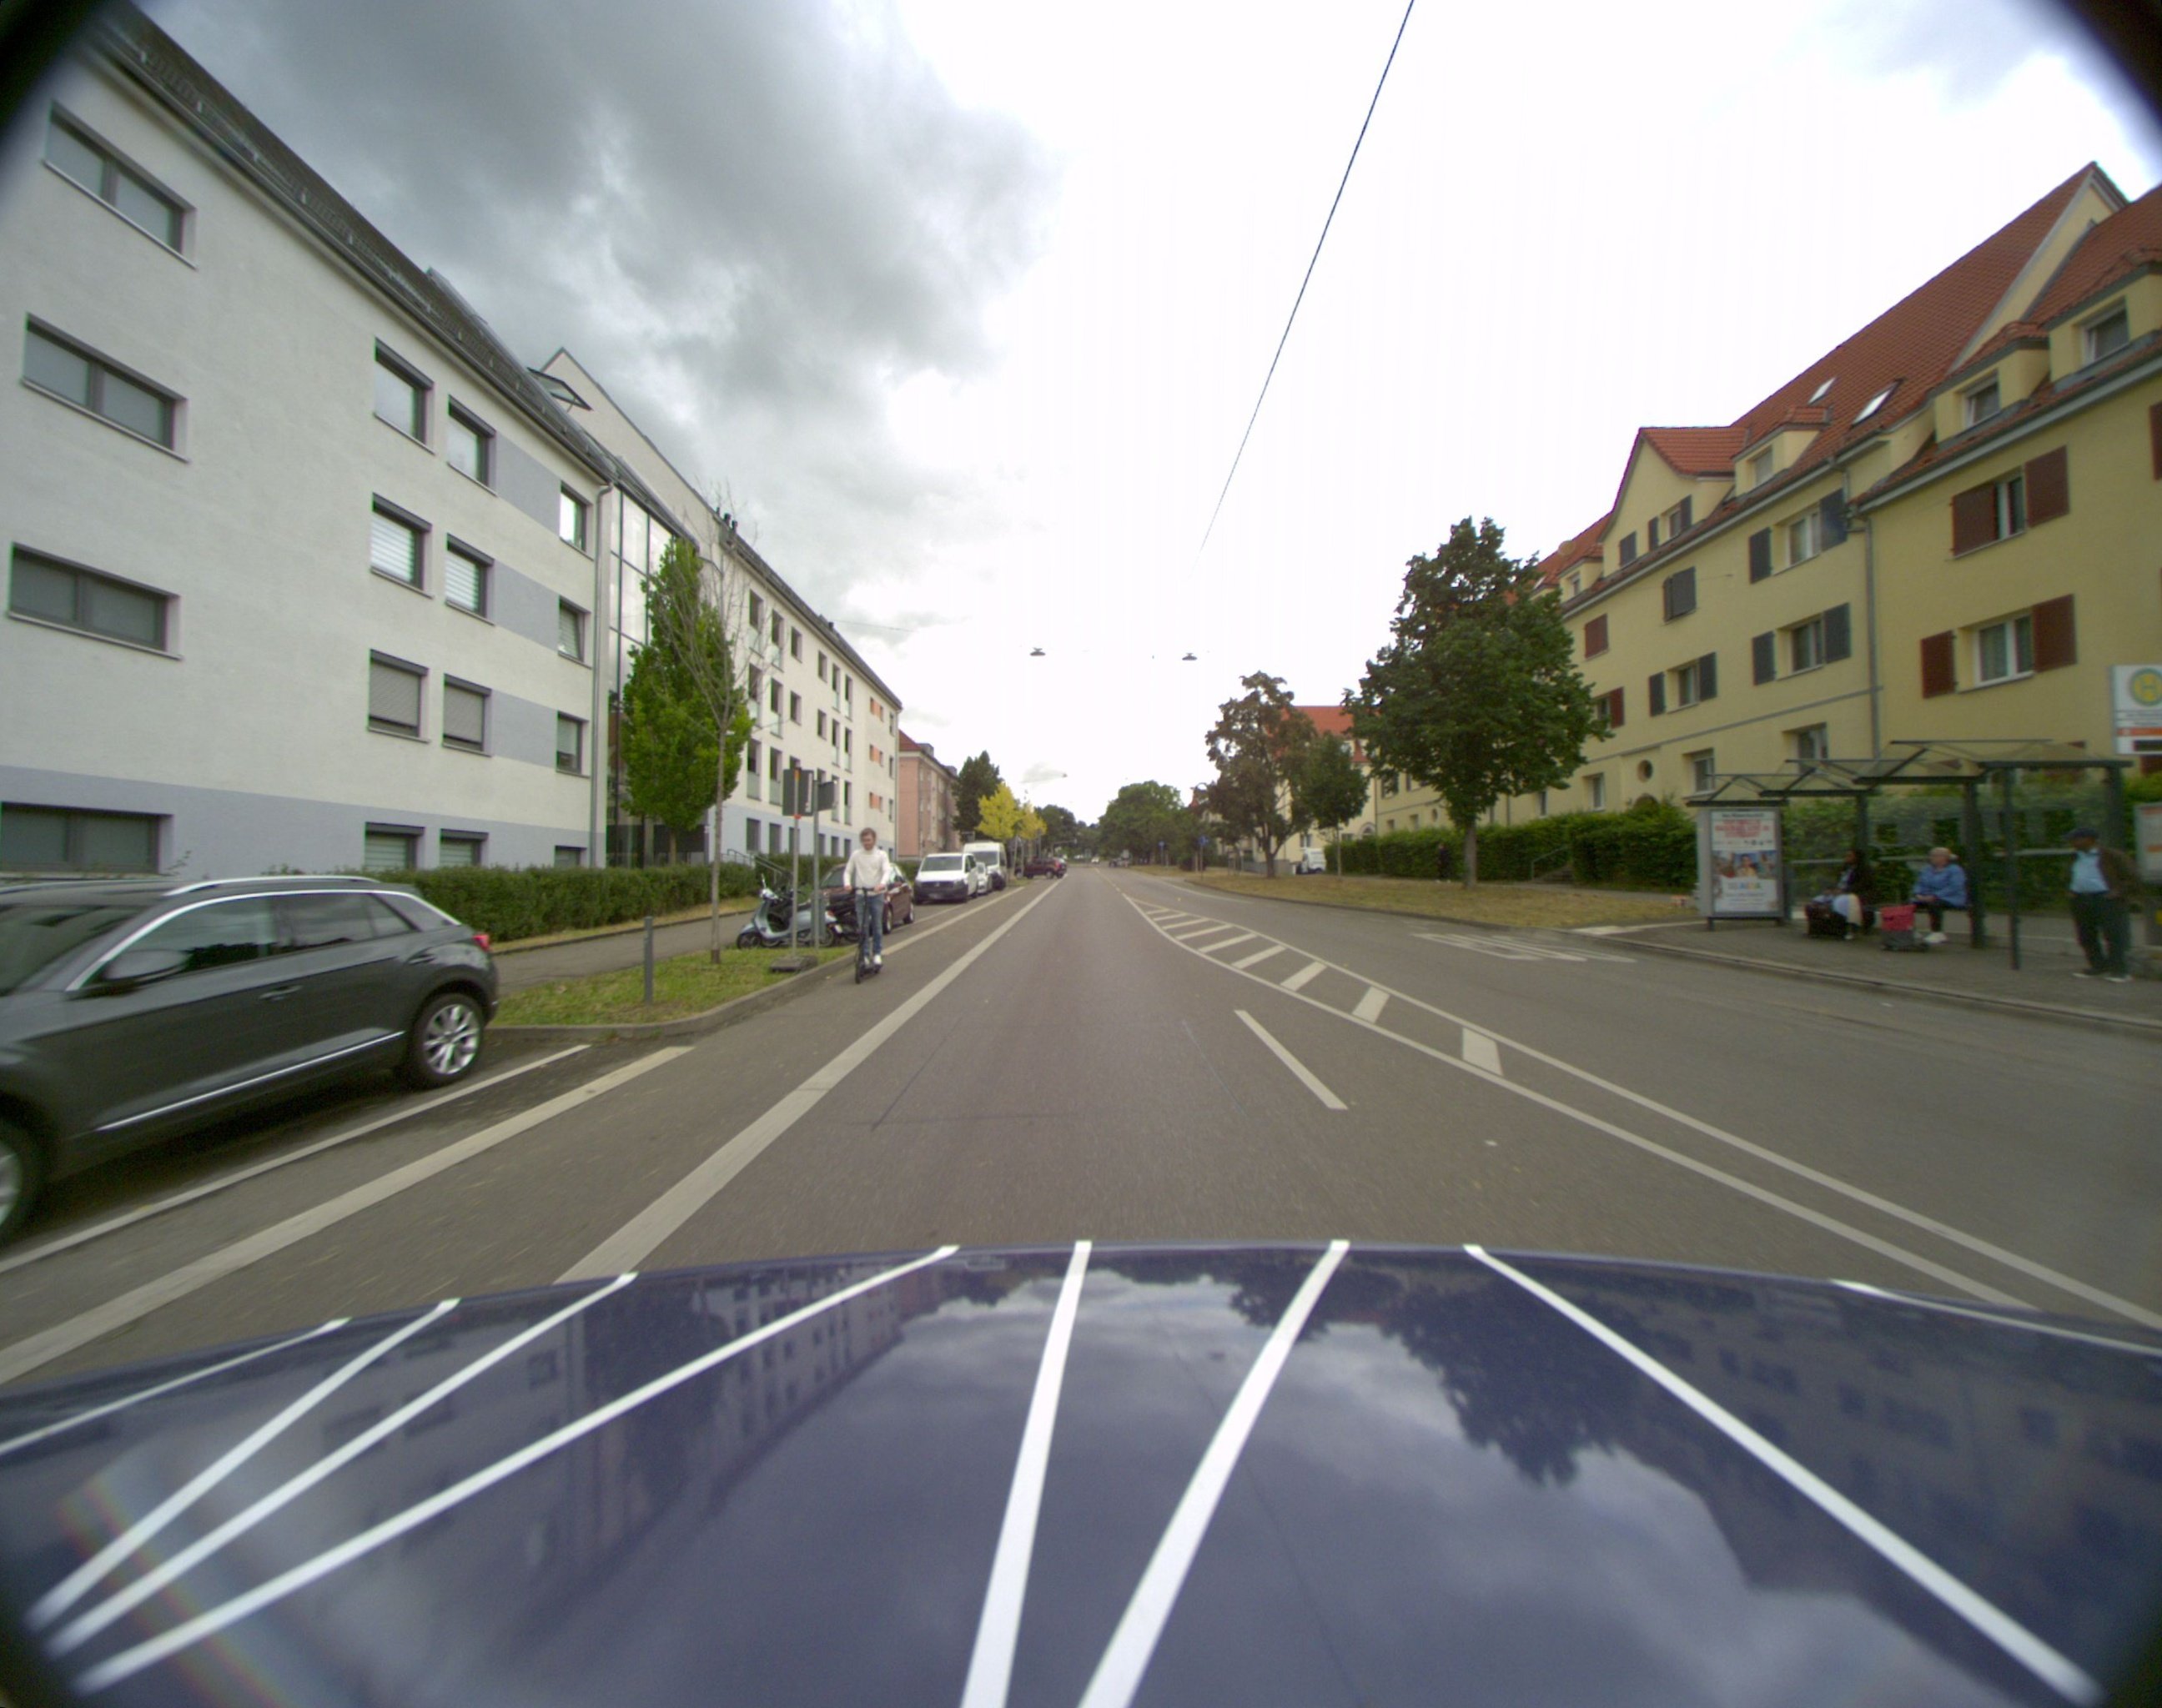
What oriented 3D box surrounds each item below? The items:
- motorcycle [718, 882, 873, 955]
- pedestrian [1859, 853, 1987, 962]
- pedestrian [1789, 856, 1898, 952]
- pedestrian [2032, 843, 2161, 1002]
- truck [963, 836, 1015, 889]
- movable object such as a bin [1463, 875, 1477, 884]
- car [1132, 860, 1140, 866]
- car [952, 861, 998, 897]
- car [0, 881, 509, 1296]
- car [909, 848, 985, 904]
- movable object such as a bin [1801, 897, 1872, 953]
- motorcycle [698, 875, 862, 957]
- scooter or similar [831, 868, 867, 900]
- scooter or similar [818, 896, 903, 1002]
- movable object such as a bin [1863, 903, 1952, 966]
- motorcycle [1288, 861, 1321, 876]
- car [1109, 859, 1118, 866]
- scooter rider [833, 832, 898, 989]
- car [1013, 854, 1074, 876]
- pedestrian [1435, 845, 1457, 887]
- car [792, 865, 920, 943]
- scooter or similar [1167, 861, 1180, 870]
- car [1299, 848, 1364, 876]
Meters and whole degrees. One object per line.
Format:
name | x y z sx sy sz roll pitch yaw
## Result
motorcycle | -5.357 1.193 14.384 2.605 1.271 0.753 -1 0 -3
pedestrian | 12.180 0.754 11.021 0.901 1.501 0.806 -2 0 1
pedestrian | 12.266 0.779 12.255 0.901 1.465 0.806 -2 0 1
pedestrian | 11.703 0.743 8.670 0.598 1.716 0.861 -1 0 3
truck | -4.750 0.445 39.958 2.058 2.550 5.689 -1 0 -1
movable object such as a bin | 16.563 1.091 32.361 0.307 0.345 0.581 -1 0 6
car | 13.815 2.311 191.786 1.860 1.596 4.001 -1 0 2
car | -4.787 1.099 34.680 1.529 1.477 3.726 -2 0 0
car | -5.362 1.047 3.920 1.636 1.640 4.355 -2 0 -3
car | -5.077 0.800 29.464 1.998 1.932 5.211 -1 0 0
movable object such as a bin | 12.155 1.130 12.246 0.465 0.821 0.665 -2 0 2
motorcycle | -5.310 1.080 13.515 2.605 1.372 0.692 -1 0 -3
scooter or similar | -8.087 1.040 26.472 1.382 1.098 0.471 -1 0 37
scooter or similar | -2.852 1.185 10.029 0.492 1.156 2.075 -1 0 0
movable object such as a bin | 12.031 1.163 11.078 0.538 0.840 0.665 -2 0 2
motorcycle | 19.595 1.253 66.515 2.598 1.271 1.019 0 0 33
car | 8.597 2.239 202.047 1.997 1.674 4.002 -1 0 6
scooter rider | -2.858 0.727 10.139 0.627 2.002 0.758 -1 0 0
car | -2.966 0.860 59.490 4.350 1.610 1.909 -1 0 25
pedestrian | 15.631 0.526 32.549 0.515 1.769 0.753 -1 0 0
car | -5.017 1.041 17.581 1.685 1.535 4.339 -1 0 -1
scooter or similar | 10.796 1.329 88.547 1.374 1.080 0.466 0 0 -4
car | 20.780 0.663 63.134 4.729 2.240 1.995 0 0 1
